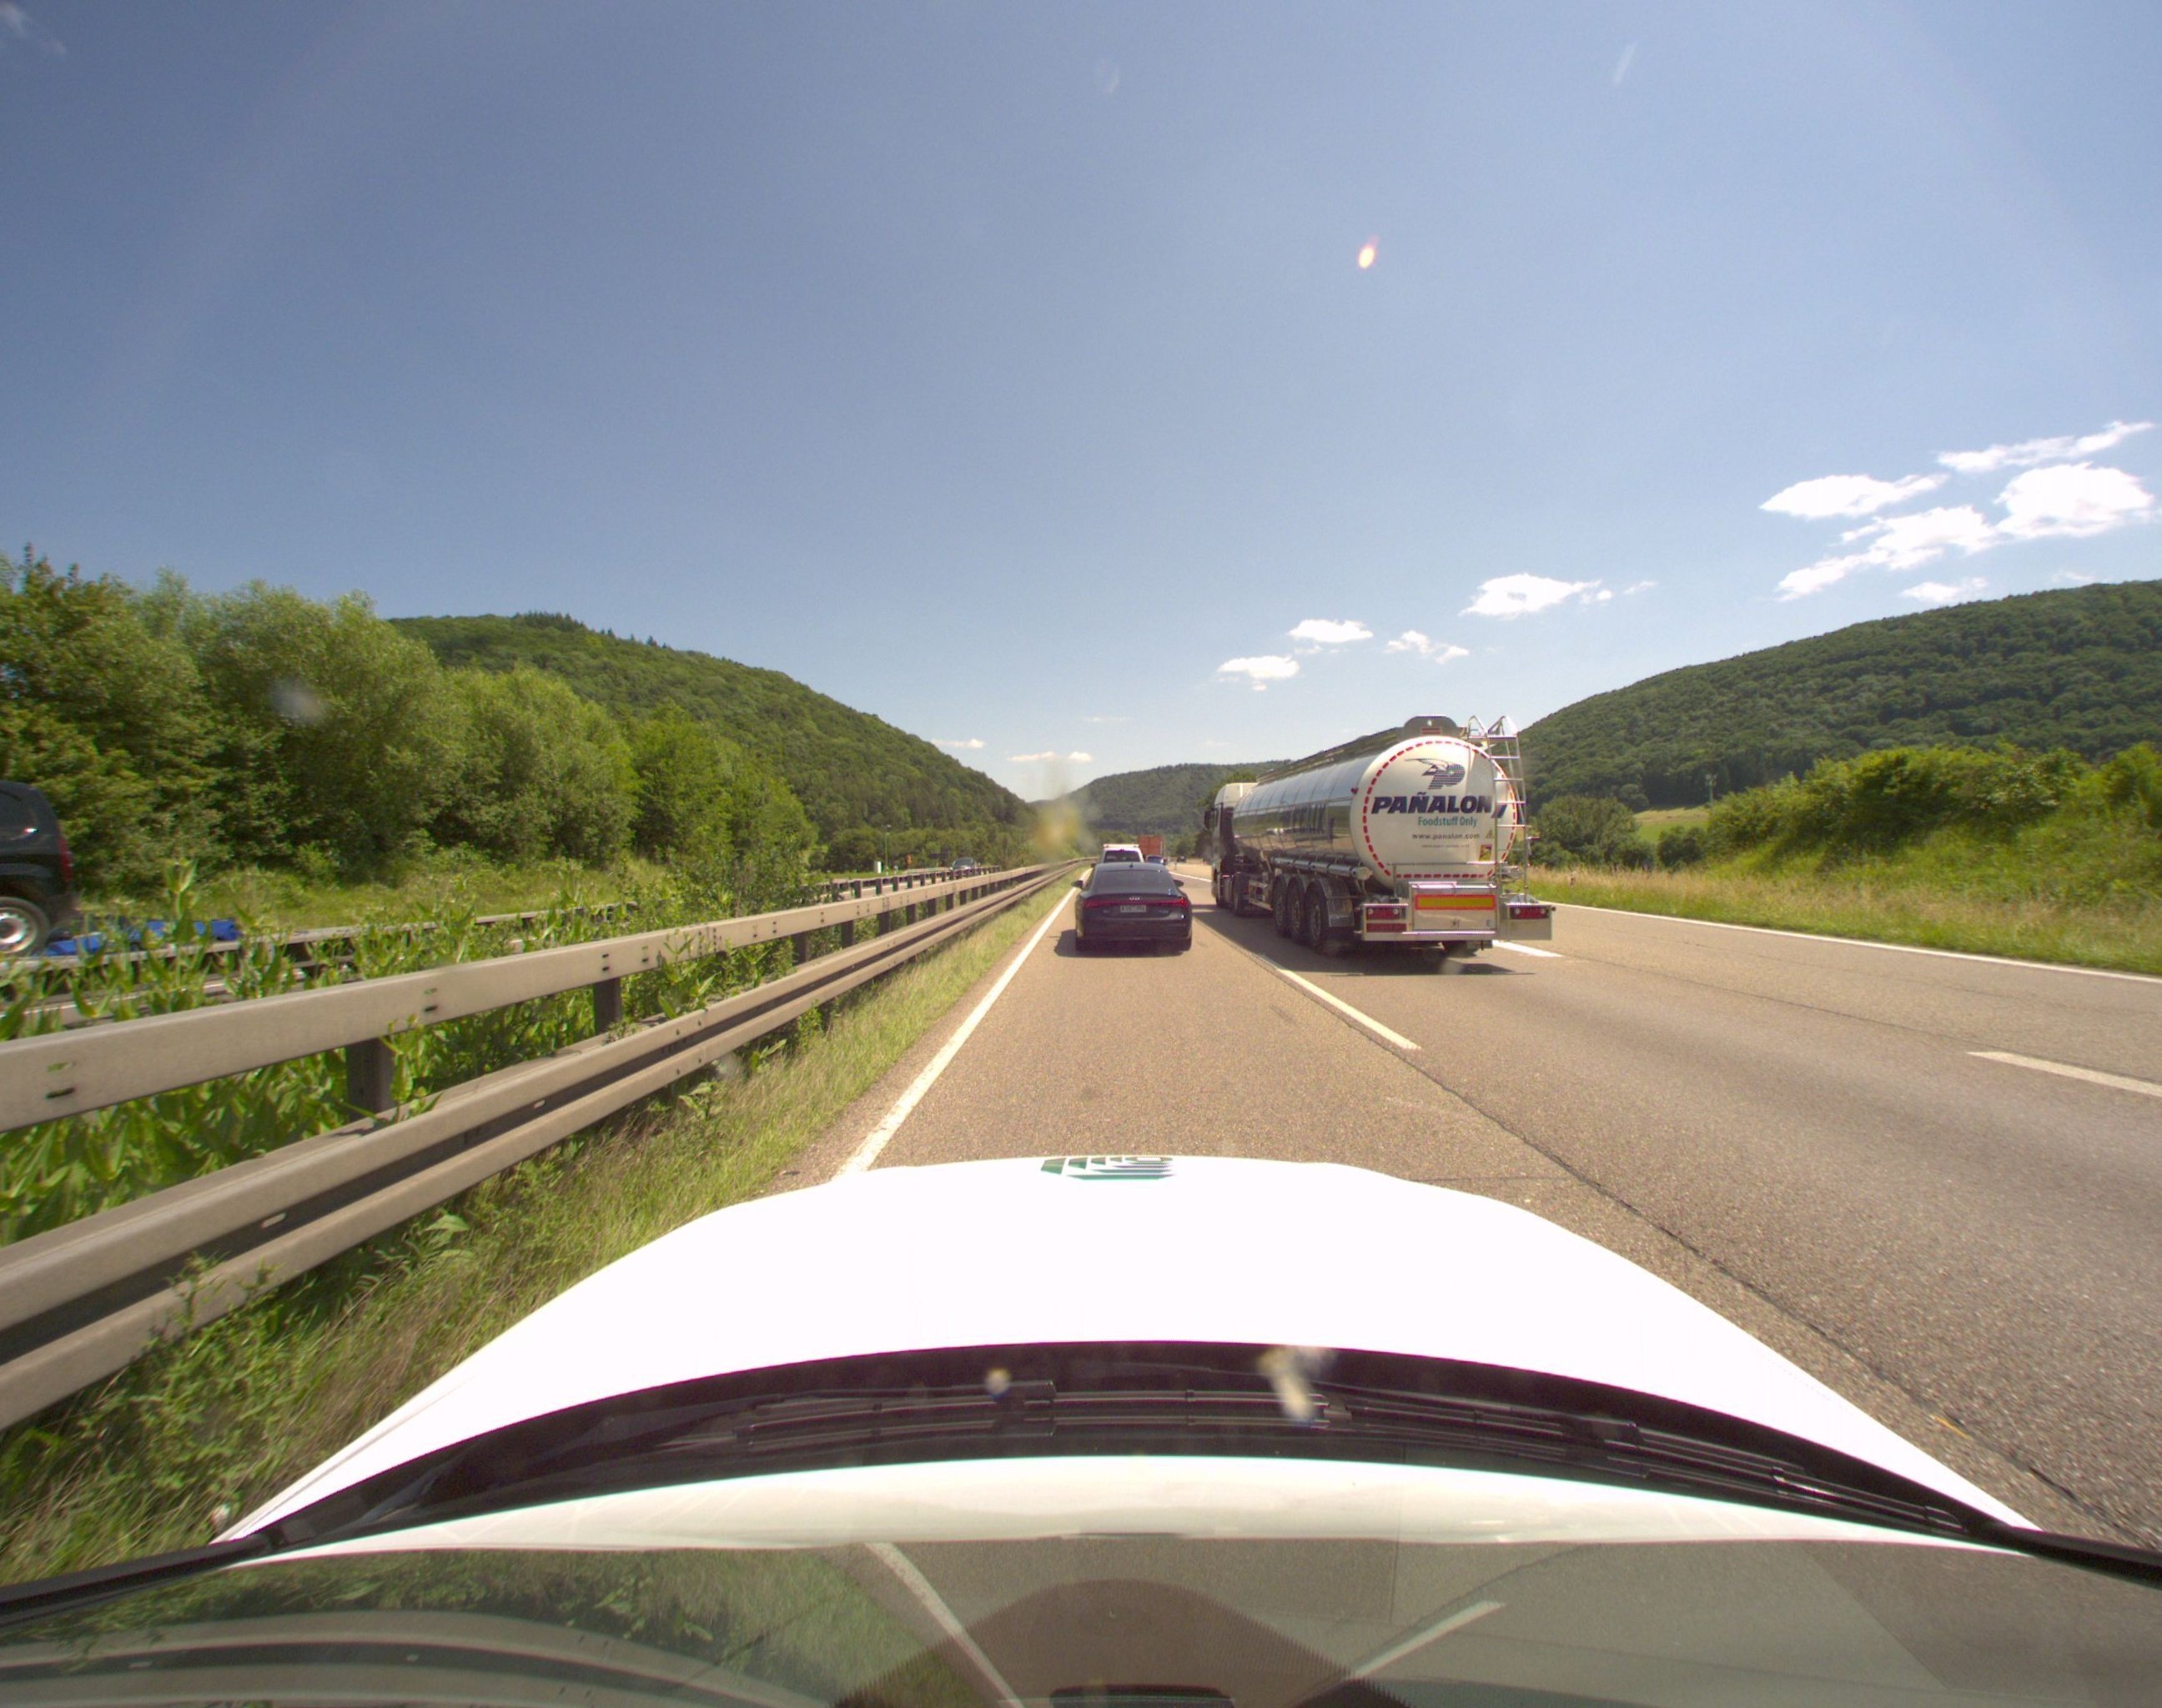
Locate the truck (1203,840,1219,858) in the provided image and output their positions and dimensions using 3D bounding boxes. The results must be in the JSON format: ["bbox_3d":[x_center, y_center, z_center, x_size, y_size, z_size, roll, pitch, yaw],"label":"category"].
[{"bbox_3d":[34.350,-1.304,214.941,3.769,4.414,15.000,-1,0,11],"label":"truck"}]

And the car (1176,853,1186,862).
[{"bbox_3d":[23.534,0.789,191.865,1.982,2.013,4.010,-1,0,9],"label":"car"}]

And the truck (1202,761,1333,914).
[{"bbox_3d":[5.005,-0.419,22.806,2.502,3.758,5.246,-1,0,1],"label":"truck"}]

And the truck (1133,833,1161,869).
[{"bbox_3d":[7.927,-0.330,99.134,2.806,4.003,14.964,-1,0,2],"label":"truck"}]

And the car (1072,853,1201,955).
[{"bbox_3d":[0.813,0.744,14.217,1.844,1.488,4.080,-1,0,-2],"label":"car"}]

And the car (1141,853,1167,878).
[{"bbox_3d":[6.288,0.961,70.238,1.985,2.002,4.003,-2,0,3],"label":"car"}]

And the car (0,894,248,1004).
[{"bbox_3d":[-15.832,1.411,12.435,1.987,1.356,4.106,-1,0,0],"label":"car"}]

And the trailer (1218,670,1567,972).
[{"bbox_3d":[4.883,-0.413,16.101,2.529,3.735,11.893,-1,0,1],"label":"trailer"}]

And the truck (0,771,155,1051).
[{"bbox_3d":[-11.271,0.567,4.757,2.286,2.588,7.973,-2,0,3],"label":"truck"}]

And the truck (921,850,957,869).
[{"bbox_3d":[-21.179,0.820,122.070,3.568,2.695,8.450,-1,0,1],"label":"truck"}]

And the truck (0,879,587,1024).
[{"bbox_3d":[-10.885,1.171,12.355,2.200,1.333,7.014,-1,0,3],"label":"truck"}]

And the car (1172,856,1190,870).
[{"bbox_3d":[11.260,1.018,91.491,1.740,1.530,4.004,-1,0,3],"label":"car"}]

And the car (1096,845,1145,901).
[{"bbox_3d":[1.342,0.625,28.684,1.570,1.833,4.001,-1,0,2],"label":"car"}]

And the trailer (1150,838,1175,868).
[{"bbox_3d":[12.794,-0.149,128.793,3.004,4.382,10.988,-1,0,1],"label":"trailer"}]

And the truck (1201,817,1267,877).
[{"bbox_3d":[11.338,-0.475,61.834,2.806,4.003,14.964,-1,0,2],"label":"truck"}]

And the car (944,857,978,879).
[{"bbox_3d":[-9.574,1.093,65.375,1.915,1.621,4.563,-1,0,2],"label":"car"}]
